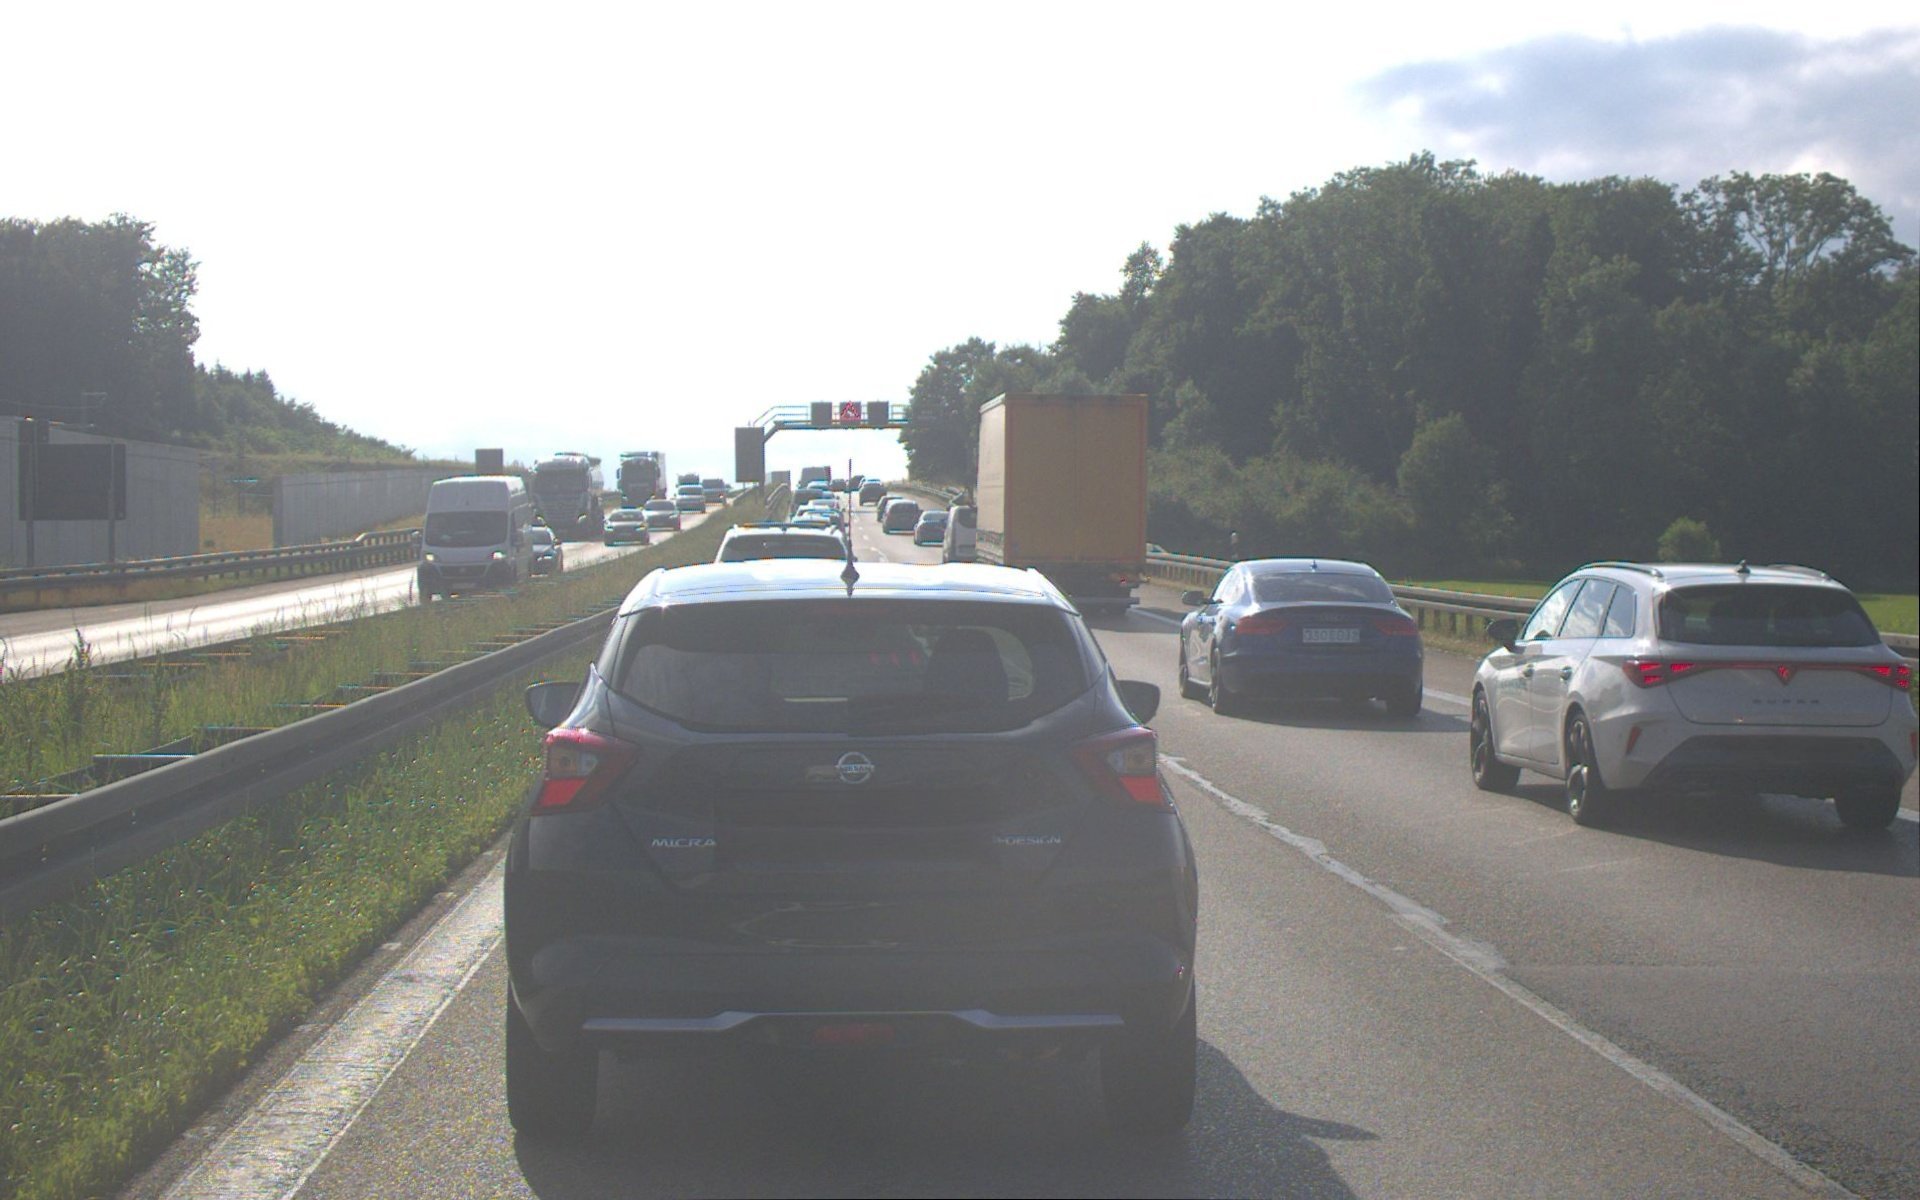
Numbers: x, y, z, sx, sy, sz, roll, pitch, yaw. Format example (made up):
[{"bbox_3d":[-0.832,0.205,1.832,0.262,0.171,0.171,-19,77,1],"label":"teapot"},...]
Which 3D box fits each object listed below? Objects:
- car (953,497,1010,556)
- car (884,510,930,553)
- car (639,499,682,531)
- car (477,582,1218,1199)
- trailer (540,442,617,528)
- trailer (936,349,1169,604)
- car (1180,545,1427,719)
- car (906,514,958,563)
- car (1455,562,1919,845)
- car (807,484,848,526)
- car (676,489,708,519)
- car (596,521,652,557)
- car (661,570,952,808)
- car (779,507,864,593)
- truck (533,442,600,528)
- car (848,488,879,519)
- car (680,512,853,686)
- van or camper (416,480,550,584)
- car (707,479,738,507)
[{"bbox_3d":[0.637,-2.242,105.485,1.667,1.748,3.327,1,1,-1],"label":"car"},{"bbox_3d":[-2.534,-3.217,162.143,1.993,2.007,4.001,1,1,-3],"label":"car"},{"bbox_3d":[-14.916,-4.240,171.403,1.803,1.511,4.691,1,1,-1],"label":"car"},{"bbox_3d":[-0.281,0.674,9.706,1.710,1.421,3.378,1,0,-1],"label":"car"},{"bbox_3d":[-18.225,-5.445,164.845,2.540,3.758,12.542,-1,1,-1],"label":"trailer"},{"bbox_3d":[1.584,-2.236,66.978,3.548,4.442,12.723,1,1,-3],"label":"trailer"},{"bbox_3d":[3.064,0.254,31.417,1.747,1.470,4.147,1,0,-1],"label":"car"},{"bbox_3d":[-1.198,-2.553,143.901,1.993,2.007,4.001,1,1,-3],"label":"car"},{"bbox_3d":[4.079,0.513,19.735,1.620,1.440,4.147,1,0,-4],"label":"car"},{"bbox_3d":[-6.745,-4.822,174.844,1.993,2.007,4.001,1,1,-3],"label":"car"},{"bbox_3d":[-17.295,-6.176,221.839,1.860,1.827,4.281,1,1,-2],"label":"car"},{"bbox_3d":[-14.184,-2.575,145.341,1.993,1.481,4.398,1,1,-1],"label":"car"},{"bbox_3d":[-0.930,0.503,21.788,1.674,1.362,3.596,1,0,-1],"label":"car"},{"bbox_3d":[-3.373,-1.212,83.235,1.993,2.007,4.001,1,1,-3],"label":"car"},{"bbox_3d":[-18.140,-5.269,158.695,2.552,3.785,5.418,-1,1,-2],"label":"truck"},{"bbox_3d":[-6.588,-6.517,233.478,1.993,2.007,4.001,1,1,-3],"label":"car"},{"bbox_3d":[-1.996,-0.026,36.279,1.674,1.720,3.596,1,0,-1],"label":"car"},{"bbox_3d":[-10.557,-1.478,76.488,2.166,2.198,6.259,1,1,-1],"label":"van or camper"},{"bbox_3d":[-17.426,-7.873,252.466,1.993,1.877,4.787,-2,1,-2],"label":"car"}]
